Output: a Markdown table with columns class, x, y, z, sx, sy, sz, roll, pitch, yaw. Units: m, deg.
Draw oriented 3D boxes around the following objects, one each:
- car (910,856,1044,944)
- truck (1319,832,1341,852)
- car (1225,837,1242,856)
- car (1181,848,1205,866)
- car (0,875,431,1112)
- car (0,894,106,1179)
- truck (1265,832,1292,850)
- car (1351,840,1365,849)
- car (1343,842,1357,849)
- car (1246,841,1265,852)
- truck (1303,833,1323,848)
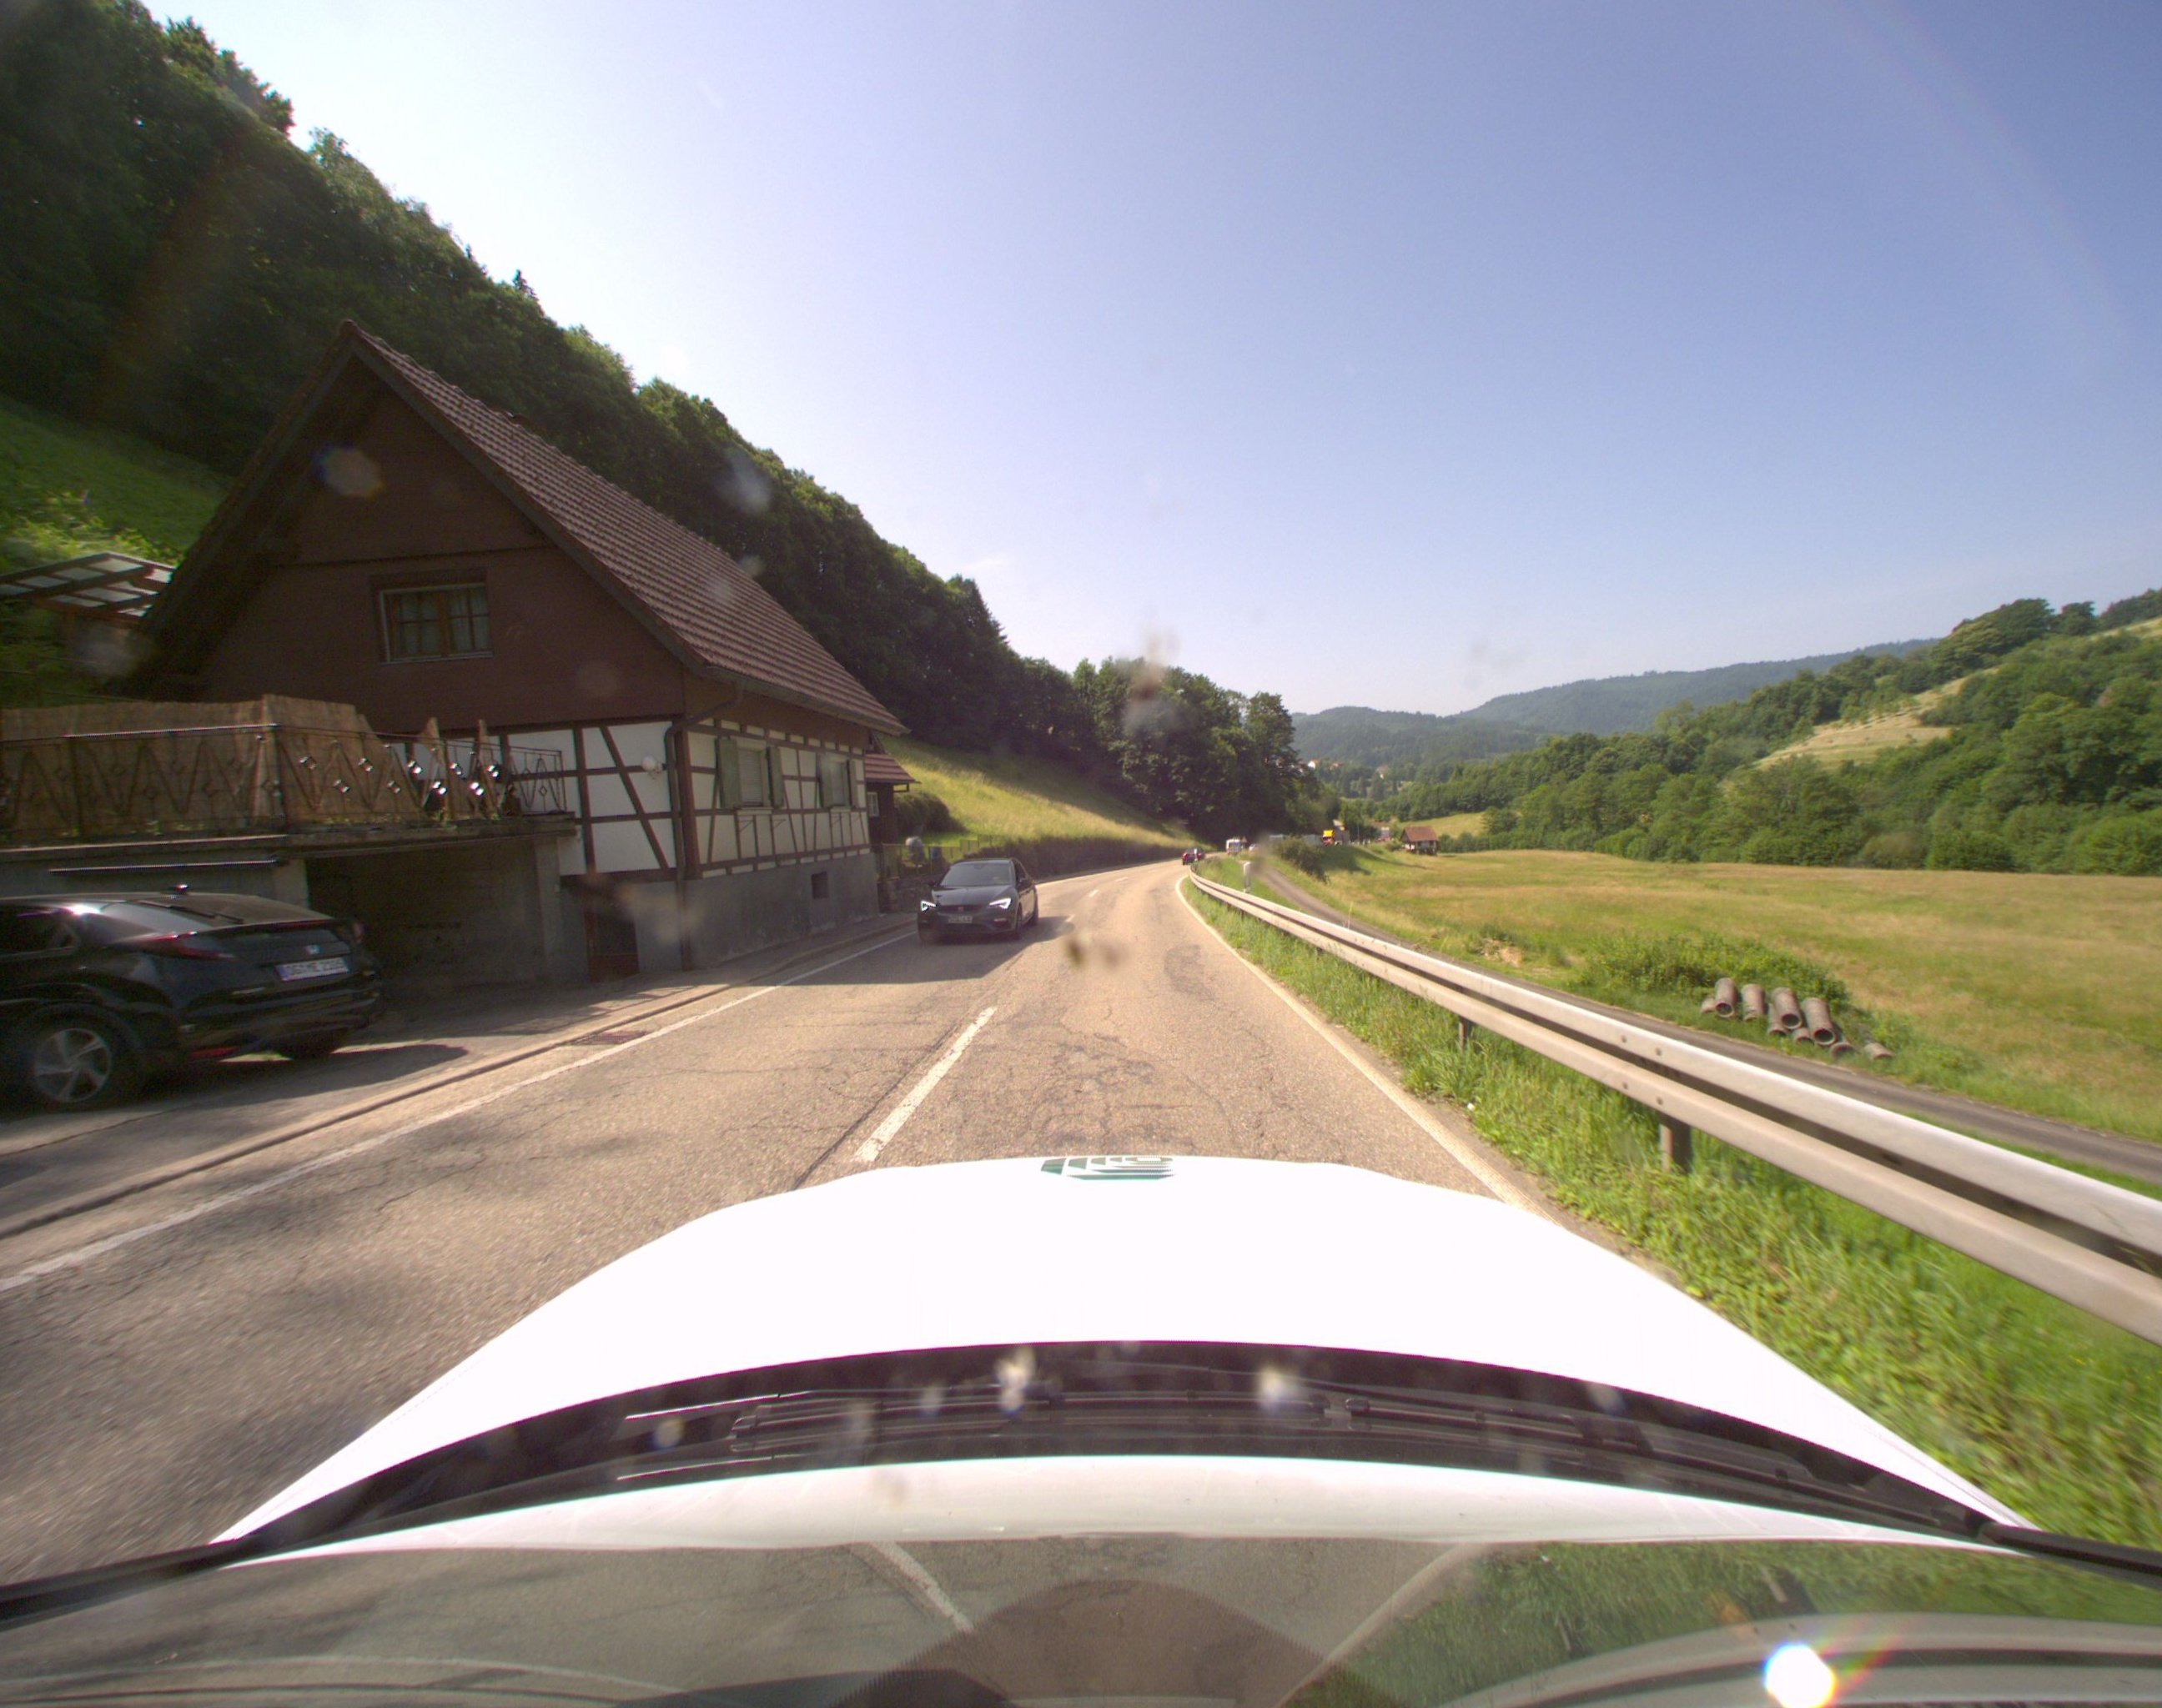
| class | x | y | z | sx | sy | sz | roll | pitch | yaw |
| --- | --- | --- | --- | --- | --- | --- | --- | --- | --- |
| car | -1.841 | 0.780 | 15.678 | 1.757 | 1.396 | 4.149 | -2 | 0 | 4 |
| truck | 56.783 | -2.872 | 185.912 | 3.158 | 4.396 | 6.614 | 1 | 2 | 32 |
| car | 20.649 | -0.998 | 110.064 | 1.979 | 2.352 | 4.934 | 0 | 2 | 15 |
| car | 9.304 | 0.208 | 67.442 | 1.759 | 1.335 | 3.780 | -1 | 2 | 12 |
| car | -7.647 | 1.004 | 6.201 | 3.804 | 1.433 | 1.863 | -3 | -1 | -1 |
| car | -7.373 | 0.993 | 3.617 | 3.803 | 1.417 | 1.857 | -2 | 0 | 0 |
| truck | 33.865 | -2.266 | 139.613 | 2.765 | 2.997 | 6.911 | 2 | 2 | 28 |
| car | 63.647 | -2.227 | 187.123 | 1.974 | 1.925 | 4.026 | 1 | 2 | 34 |
| car | 58.996 | -1.857 | 178.251 | 1.888 | 1.485 | 4.026 | 3 | 2 | 33 |
| car | 27.181 | -1.186 | 126.769 | 1.976 | 1.484 | 4.023 | 1 | 2 | 24 |
| truck | 45.392 | -2.658 | 159.072 | 2.216 | 2.804 | 6.271 | 0 | 0 | 30 |
